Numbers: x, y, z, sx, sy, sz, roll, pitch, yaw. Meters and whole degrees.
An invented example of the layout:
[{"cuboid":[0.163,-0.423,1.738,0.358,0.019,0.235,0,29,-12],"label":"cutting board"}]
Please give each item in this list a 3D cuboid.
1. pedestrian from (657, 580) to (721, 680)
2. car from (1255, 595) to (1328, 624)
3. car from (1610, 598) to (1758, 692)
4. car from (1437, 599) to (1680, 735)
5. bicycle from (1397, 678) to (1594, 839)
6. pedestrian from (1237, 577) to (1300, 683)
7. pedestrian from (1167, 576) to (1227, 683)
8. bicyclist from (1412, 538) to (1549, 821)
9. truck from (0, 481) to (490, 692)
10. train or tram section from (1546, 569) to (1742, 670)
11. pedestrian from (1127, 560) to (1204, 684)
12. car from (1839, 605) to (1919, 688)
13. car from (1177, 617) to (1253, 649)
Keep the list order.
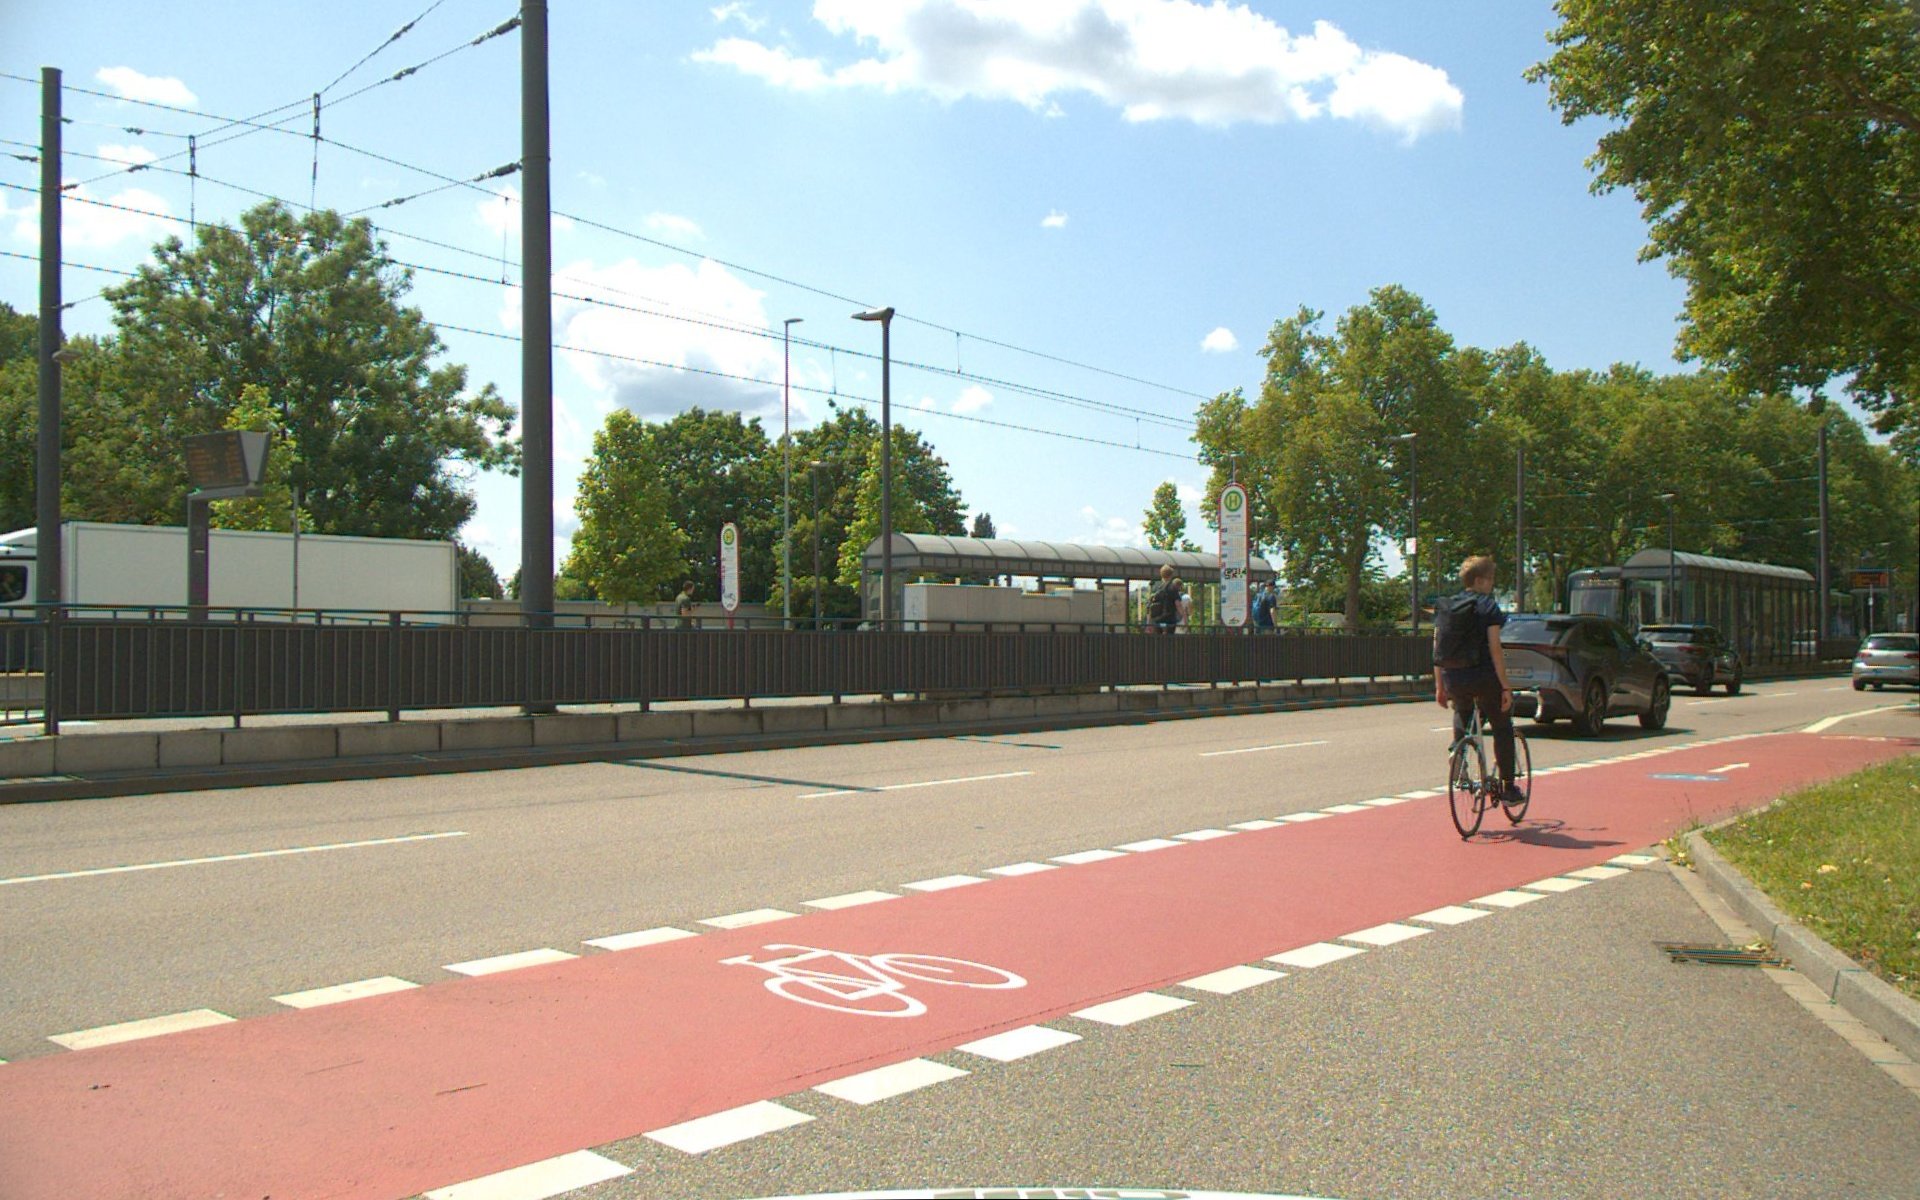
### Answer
[{"cuboid":[-5.112,0.561,31.213,0.722,1.839,0.925,0,-1,40],"label":"pedestrian"},{"cuboid":[19.687,0.567,98.197,3.857,1.691,1.899,0,0,42],"label":"car"},{"cuboid":[16.578,0.990,37.774,1.963,2.024,4.339,-1,-1,40],"label":"car"},{"cuboid":[8.466,0.907,23.157,1.868,1.704,4.497,0,-2,39],"label":"car"},{"cuboid":[3.854,1.084,11.798,0.610,1.017,2.012,1,-1,40],"label":"bicycle"},{"cuboid":[5.339,0.511,28.621,0.722,1.786,0.925,0,-1,40],"label":"pedestrian"},{"cuboid":[4.293,0.522,29.977,0.859,1.904,0.673,0,0,-18],"label":"pedestrian"},{"cuboid":[3.642,0.532,11.545,0.600,1.878,0.919,0,-1,40],"label":"bicyclist"},{"cuboid":[-16.671,-0.197,37.550,2.899,4.177,11.928,0,-1,41],"label":"truck"},{"cuboid":[24.774,0.769,59.283,2.988,3.242,14.038,-1,-2,37],"label":"train or tram section"},{"cuboid":[3.347,0.350,26.889,0.859,1.973,0.989,0,0,39],"label":"pedestrian"},{"cuboid":[24.313,1.145,42.746,1.963,2.024,4.339,-1,-1,40],"label":"car"},{"cuboid":[14.282,1.842,92.766,3.857,1.691,1.899,0,0,42],"label":"car"}]
